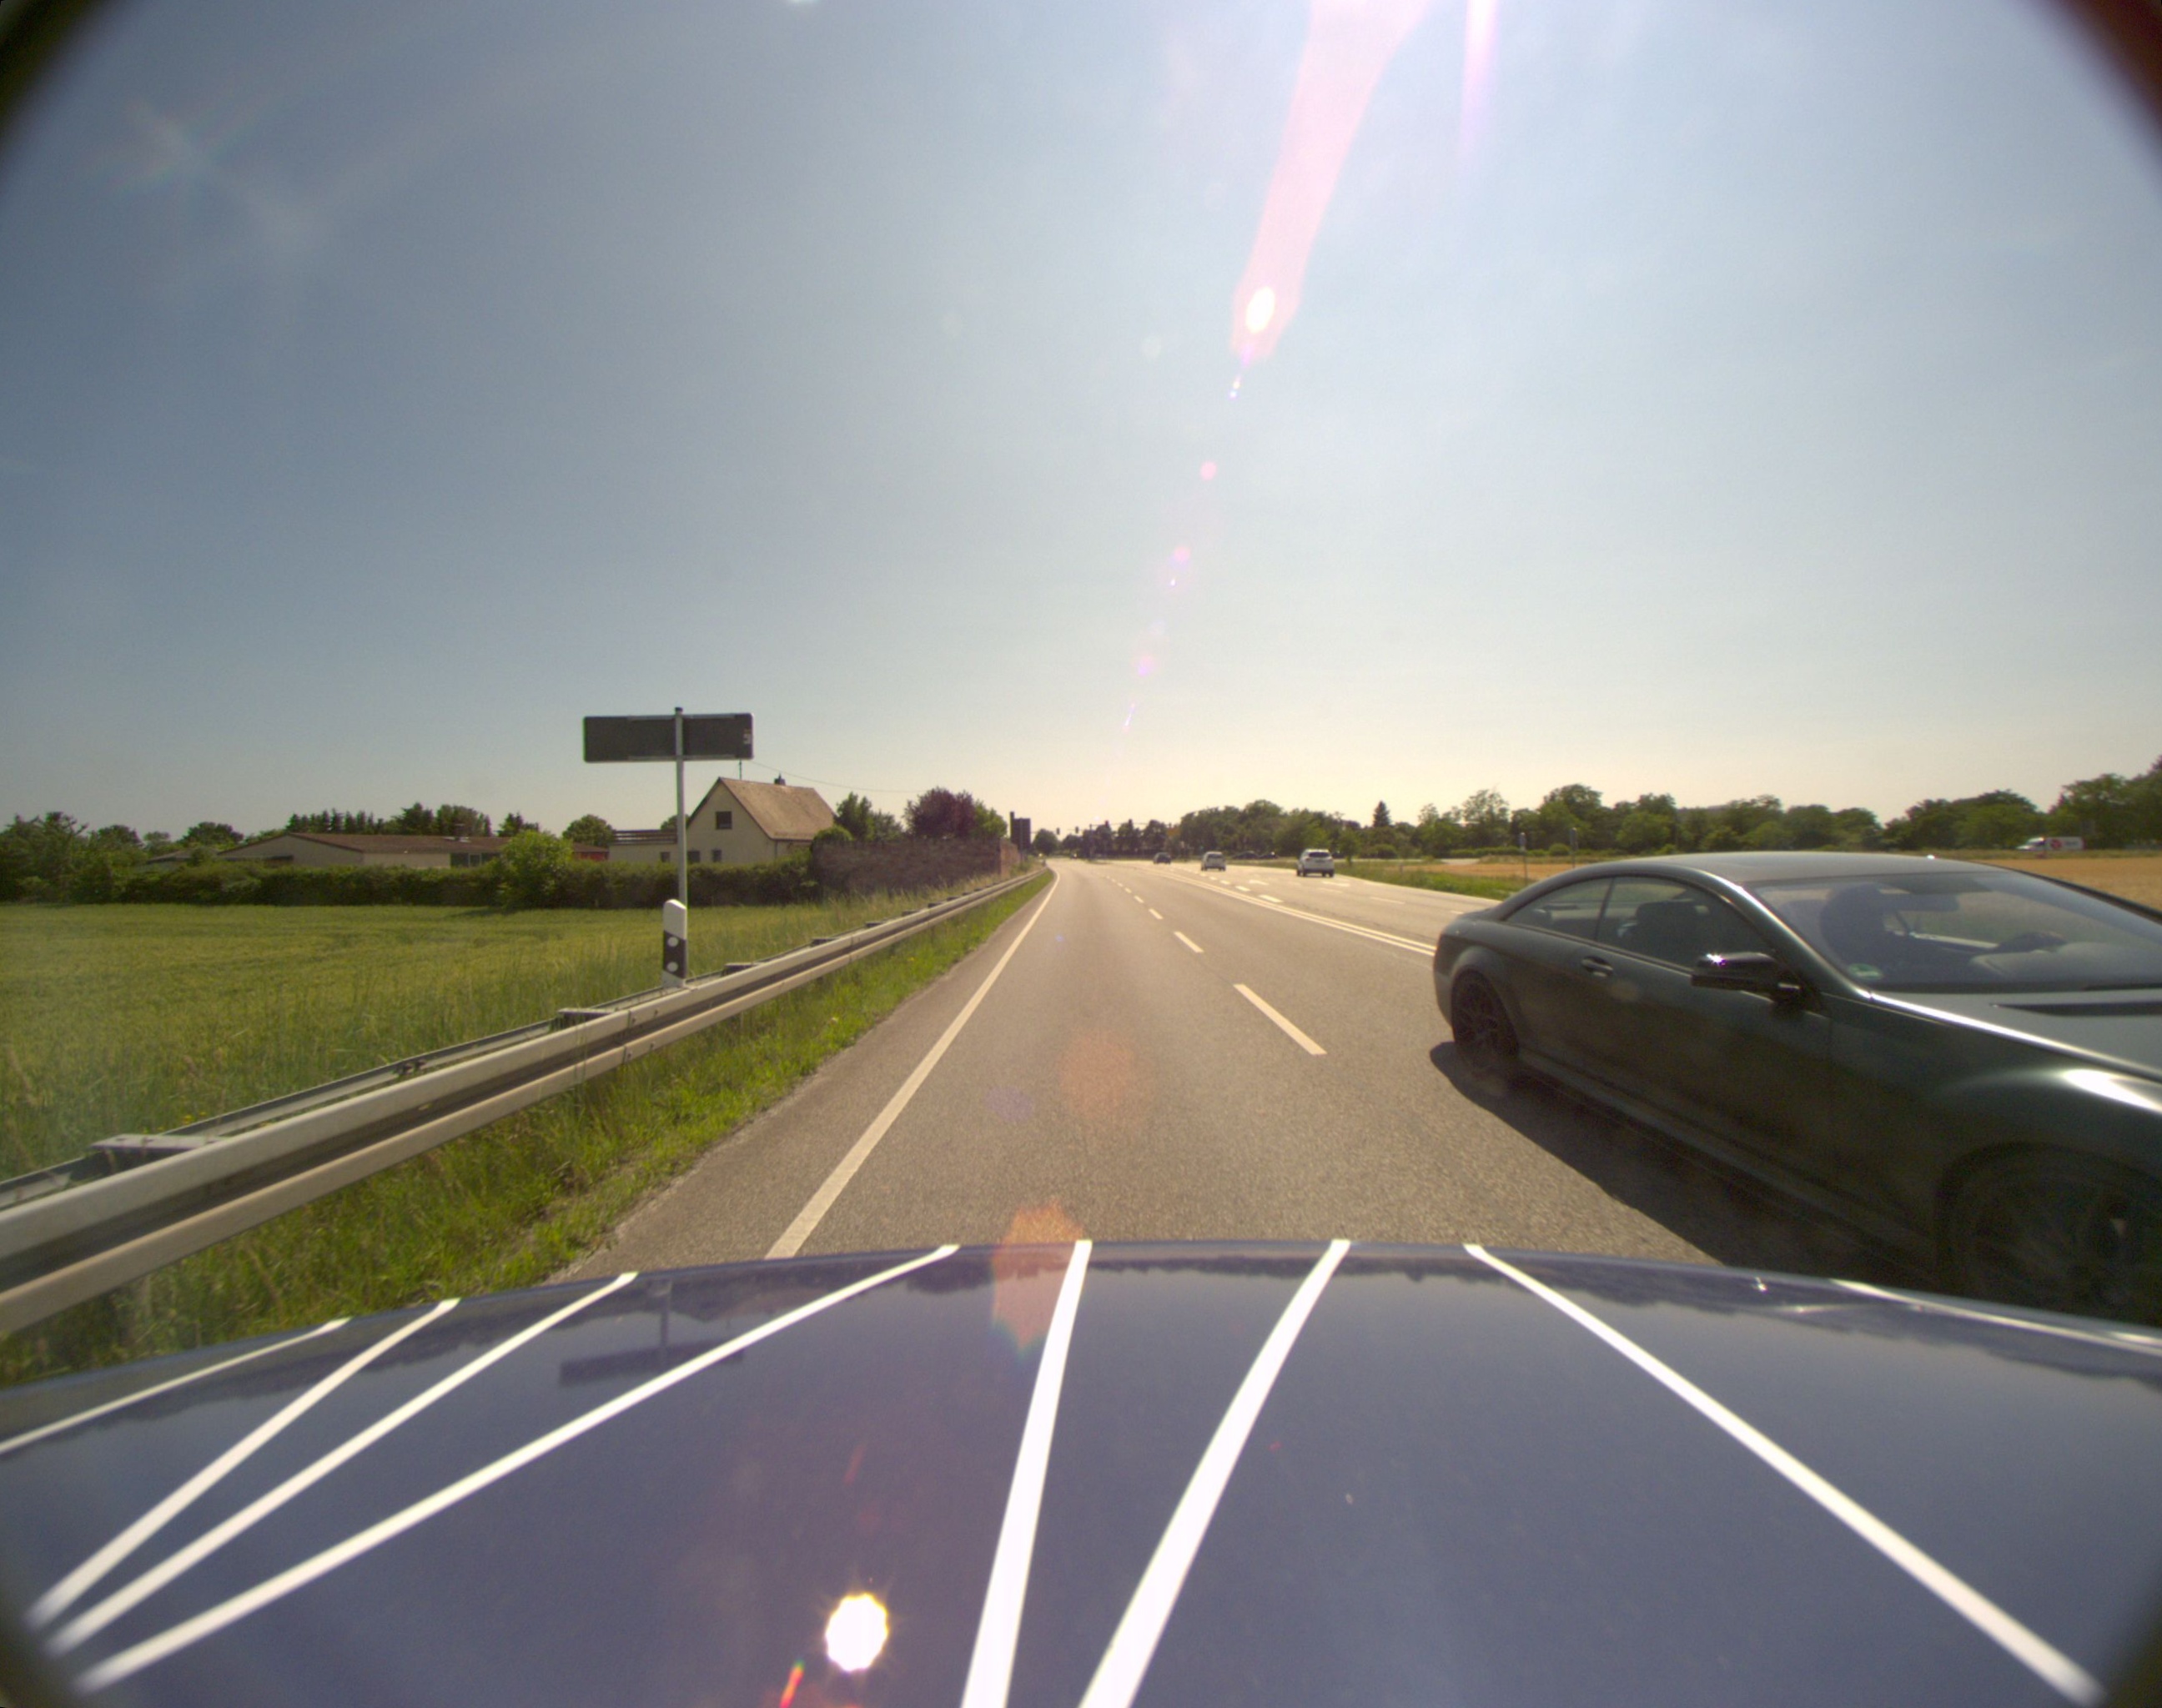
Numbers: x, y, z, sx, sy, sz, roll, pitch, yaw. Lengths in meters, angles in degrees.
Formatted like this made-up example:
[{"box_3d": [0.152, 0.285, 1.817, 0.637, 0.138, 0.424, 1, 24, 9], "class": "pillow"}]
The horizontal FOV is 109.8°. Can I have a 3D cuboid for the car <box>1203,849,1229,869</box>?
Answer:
[{"box_3d": [10.653, 0.395, 60.223, 1.752, 1.433, 4.084, 2, 0, 6], "class": "car"}]

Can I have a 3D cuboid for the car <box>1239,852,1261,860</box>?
[{"box_3d": [30.619, 0.335, 137.590, 3.874, 1.379, 1.636, -1, 0, 10], "class": "car"}]

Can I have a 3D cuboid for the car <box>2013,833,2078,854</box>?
[{"box_3d": [145.786, -1.588, 114.897, 6.373, 2.893, 2.001, -2, 1, 8], "class": "car"}]

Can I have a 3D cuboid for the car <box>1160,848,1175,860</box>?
[{"box_3d": [11.241, -0.056, 98.537, 1.763, 1.449, 4.232, 1, 1, 4], "class": "car"}]

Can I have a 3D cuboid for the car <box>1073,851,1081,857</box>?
[{"box_3d": [-1.283, 0.082, 220.812, 1.836, 1.591, 4.302, 0, 1, -8], "class": "car"}]

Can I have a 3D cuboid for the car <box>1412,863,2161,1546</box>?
[{"box_3d": [3.385, 0.837, 3.217, 1.815, 1.441, 4.876, -2, 0, 0], "class": "car"}]

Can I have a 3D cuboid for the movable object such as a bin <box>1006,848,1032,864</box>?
[{"box_3d": [-10.145, 0.340, 123.733, 4.107, 2.318, 1.276, -3, 1, -8], "class": "movable object such as a bin"}]

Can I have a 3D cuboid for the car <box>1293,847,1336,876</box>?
[{"box_3d": [14.589, 0.449, 47.739, 1.668, 1.667, 4.464, 1, 0, 5], "class": "car"}]
